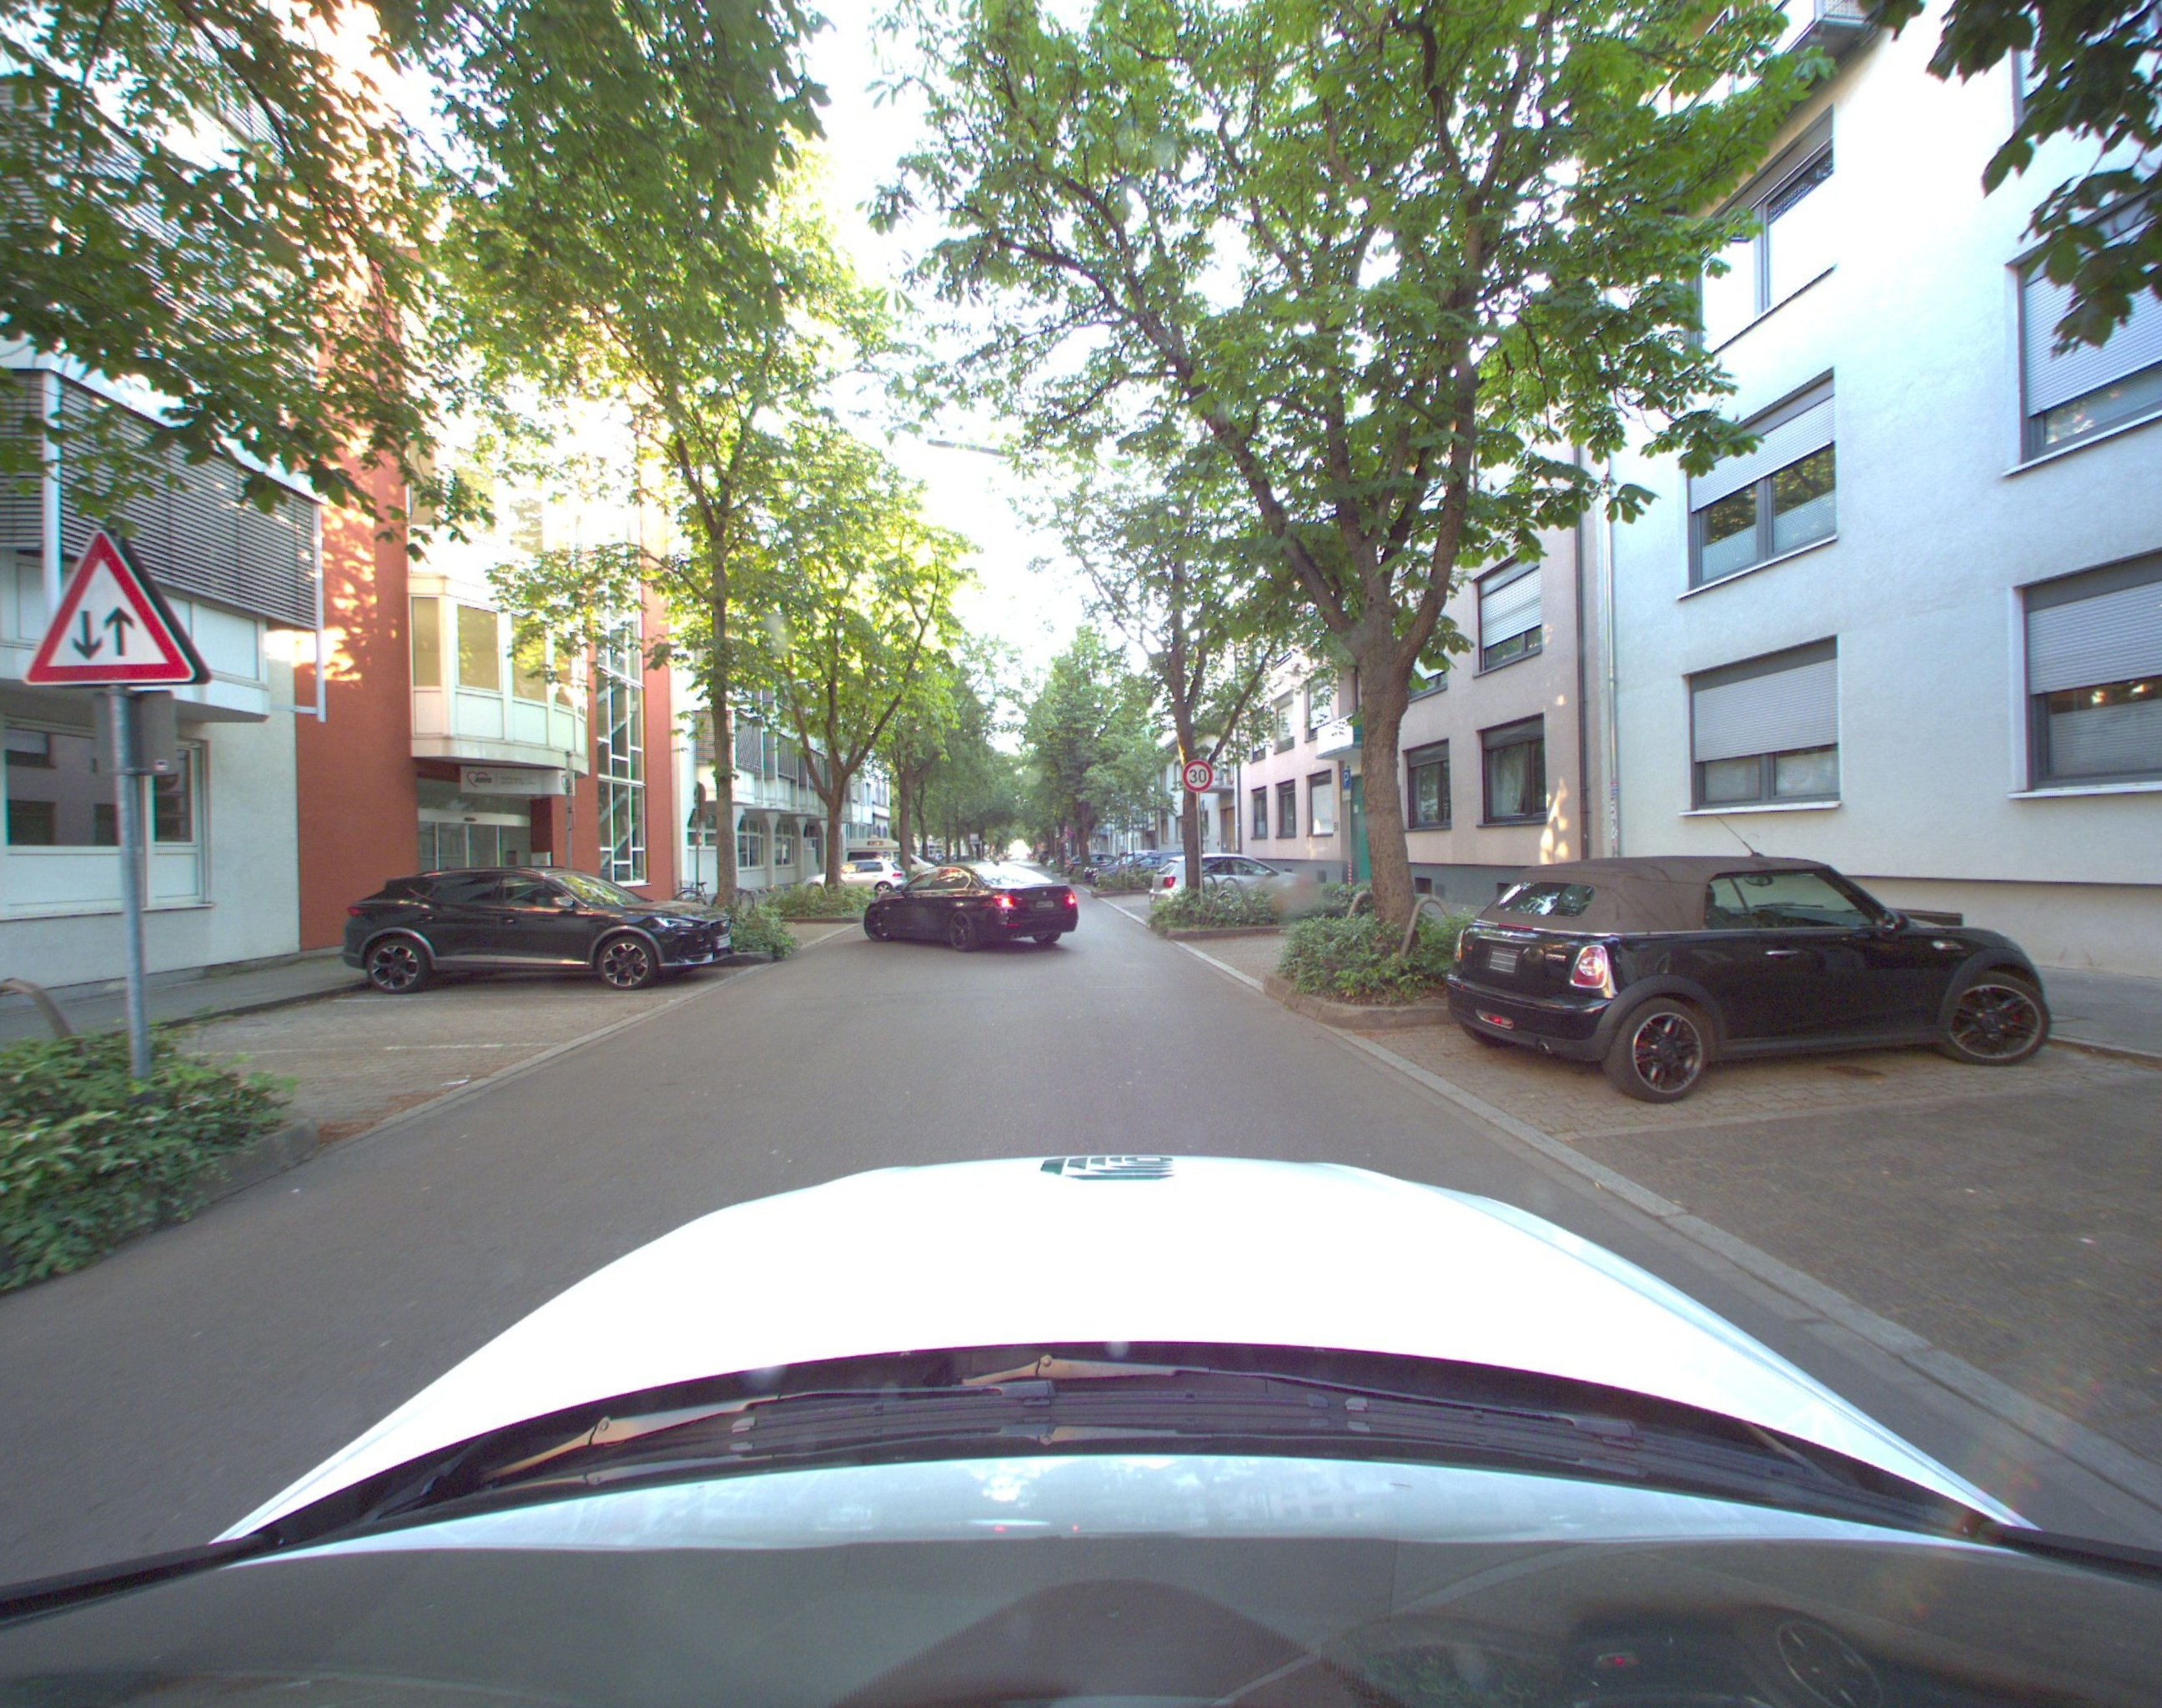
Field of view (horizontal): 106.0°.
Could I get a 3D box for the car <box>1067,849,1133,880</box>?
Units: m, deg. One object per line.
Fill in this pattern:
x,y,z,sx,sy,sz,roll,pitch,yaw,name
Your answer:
1.100,0.612,47.657,3.653,1.536,1.562,-3,0,-7,car

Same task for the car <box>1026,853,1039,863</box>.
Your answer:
-7.987,0.608,133.874,1.990,1.552,3.994,-1,0,-5,car

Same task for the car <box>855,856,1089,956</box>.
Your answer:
-2.085,0.798,14.405,1.778,1.450,4.611,-1,0,-43,car

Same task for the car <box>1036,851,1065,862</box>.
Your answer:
-3.897,0.338,103.616,3.652,1.393,1.562,-1,0,-7,car

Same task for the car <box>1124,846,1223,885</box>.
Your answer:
3.639,0.440,32.454,3.653,1.393,1.562,-2,0,-7,car

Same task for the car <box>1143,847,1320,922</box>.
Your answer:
3.381,0.651,18.601,3.653,1.479,1.562,-2,0,-7,car

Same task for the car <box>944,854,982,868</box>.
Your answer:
-12.746,0.712,88.252,4.014,1.471,1.637,0,0,-5,car

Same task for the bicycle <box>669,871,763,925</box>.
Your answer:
-8.750,1.032,19.596,1.973,1.199,0.499,-1,0,-16,bicycle

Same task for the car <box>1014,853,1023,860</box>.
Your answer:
-14.581,0.554,190.245,1.891,1.475,3.995,-1,0,-4,car

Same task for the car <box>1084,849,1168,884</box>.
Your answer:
2.109,0.576,38.849,3.788,1.530,1.562,-2,0,-7,car

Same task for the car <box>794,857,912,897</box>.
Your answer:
-8.761,0.864,31.569,4.125,1.471,1.637,0,0,-5,car

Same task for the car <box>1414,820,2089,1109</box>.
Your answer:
4.537,0.619,5.754,3.702,1.428,1.622,-4,1,-10,car

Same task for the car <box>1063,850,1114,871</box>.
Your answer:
0.543,0.466,60.867,3.653,1.393,1.562,-2,0,-7,car

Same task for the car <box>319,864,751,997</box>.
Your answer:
-6.917,0.922,10.751,4.349,1.509,1.832,0,0,-5,car

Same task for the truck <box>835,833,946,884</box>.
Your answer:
-9.220,0.195,39.822,4.989,2.441,1.914,0,1,-4,truck

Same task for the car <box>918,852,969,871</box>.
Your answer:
-11.399,0.604,67.509,4.014,1.471,1.637,0,0,-5,car
